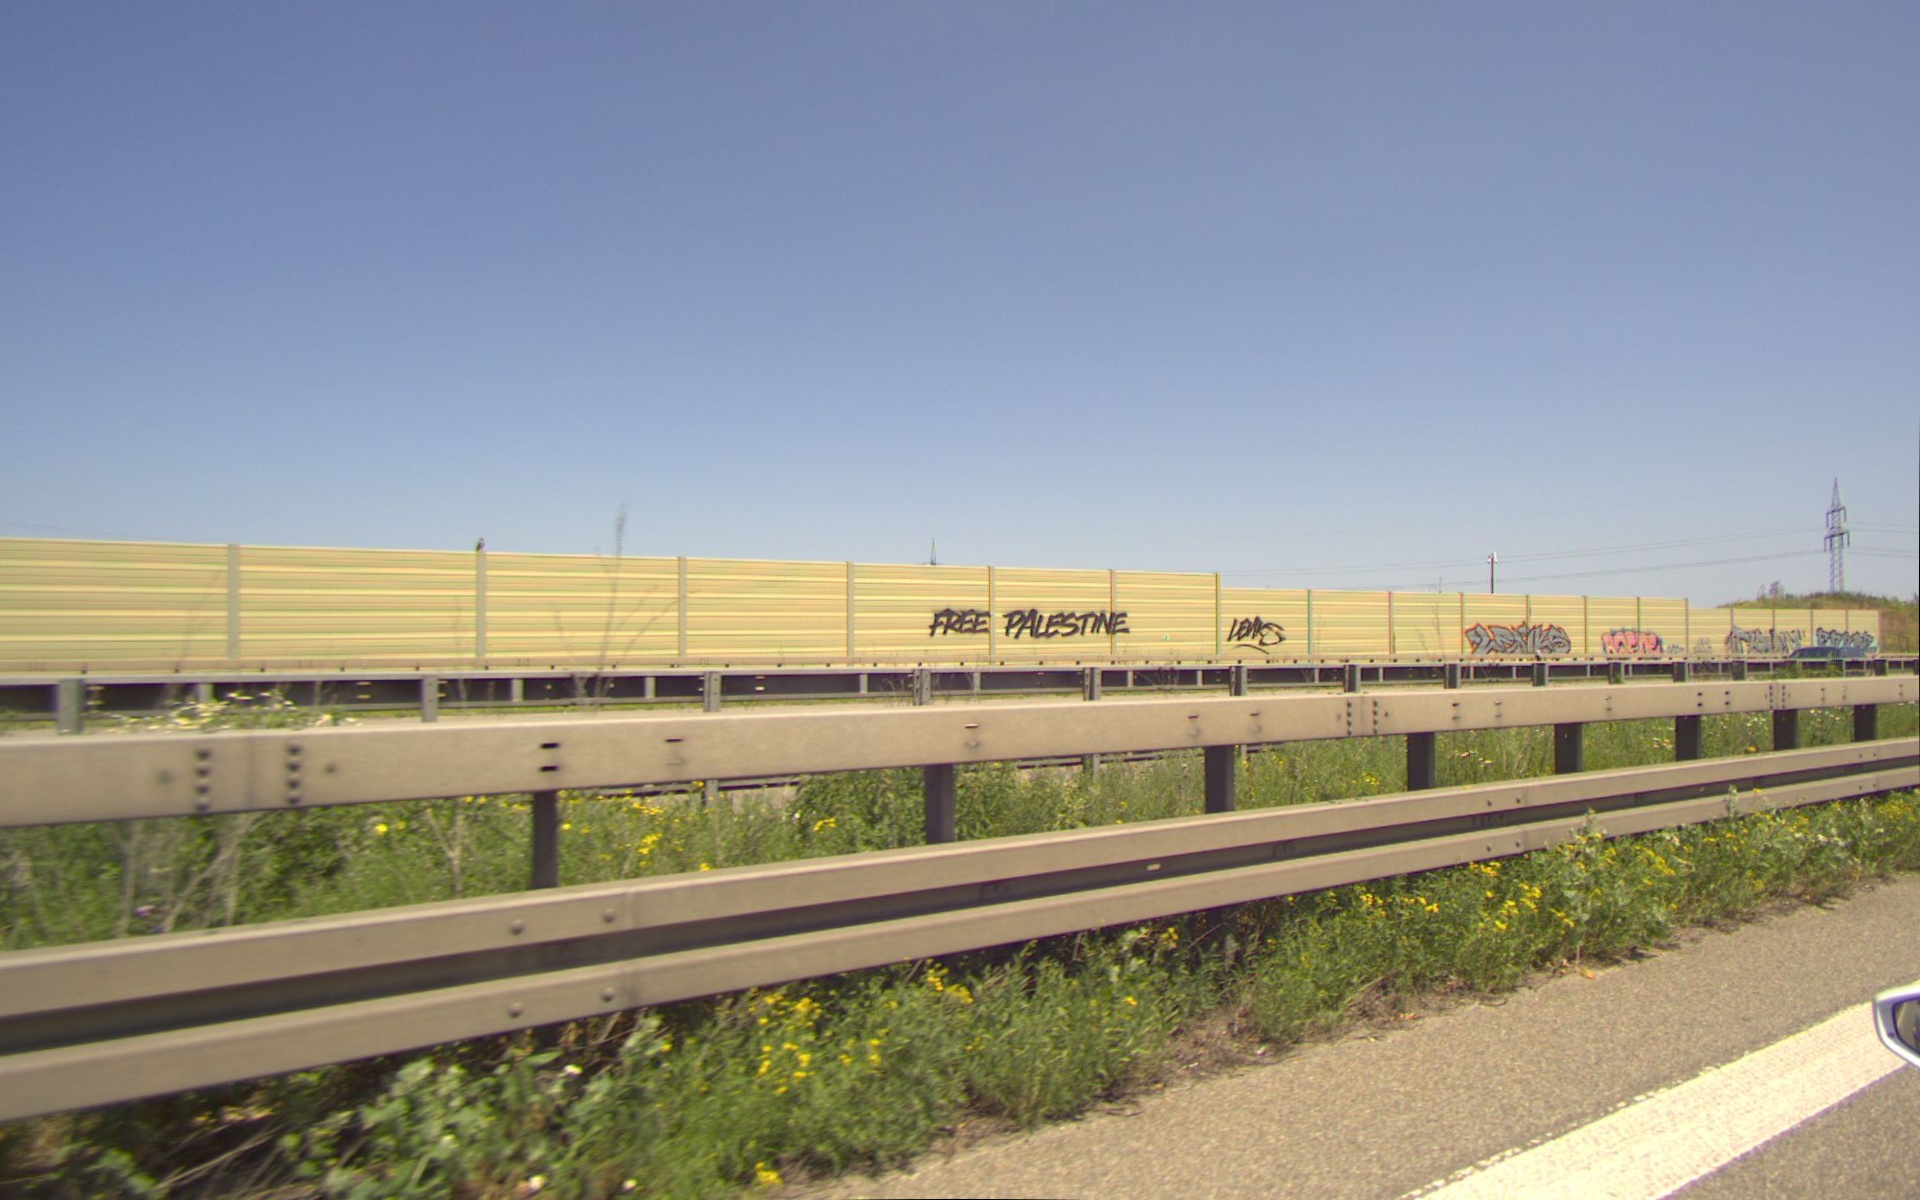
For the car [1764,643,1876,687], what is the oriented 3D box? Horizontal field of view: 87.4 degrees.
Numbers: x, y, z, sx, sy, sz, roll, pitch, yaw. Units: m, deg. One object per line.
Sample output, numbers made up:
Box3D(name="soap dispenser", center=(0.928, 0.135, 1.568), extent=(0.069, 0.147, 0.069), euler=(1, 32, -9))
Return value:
Box3D(name="car", center=(32.102, 2.389, 37.471), extent=(3.953, 1.439, 1.984), euler=(2, 0, -30))
